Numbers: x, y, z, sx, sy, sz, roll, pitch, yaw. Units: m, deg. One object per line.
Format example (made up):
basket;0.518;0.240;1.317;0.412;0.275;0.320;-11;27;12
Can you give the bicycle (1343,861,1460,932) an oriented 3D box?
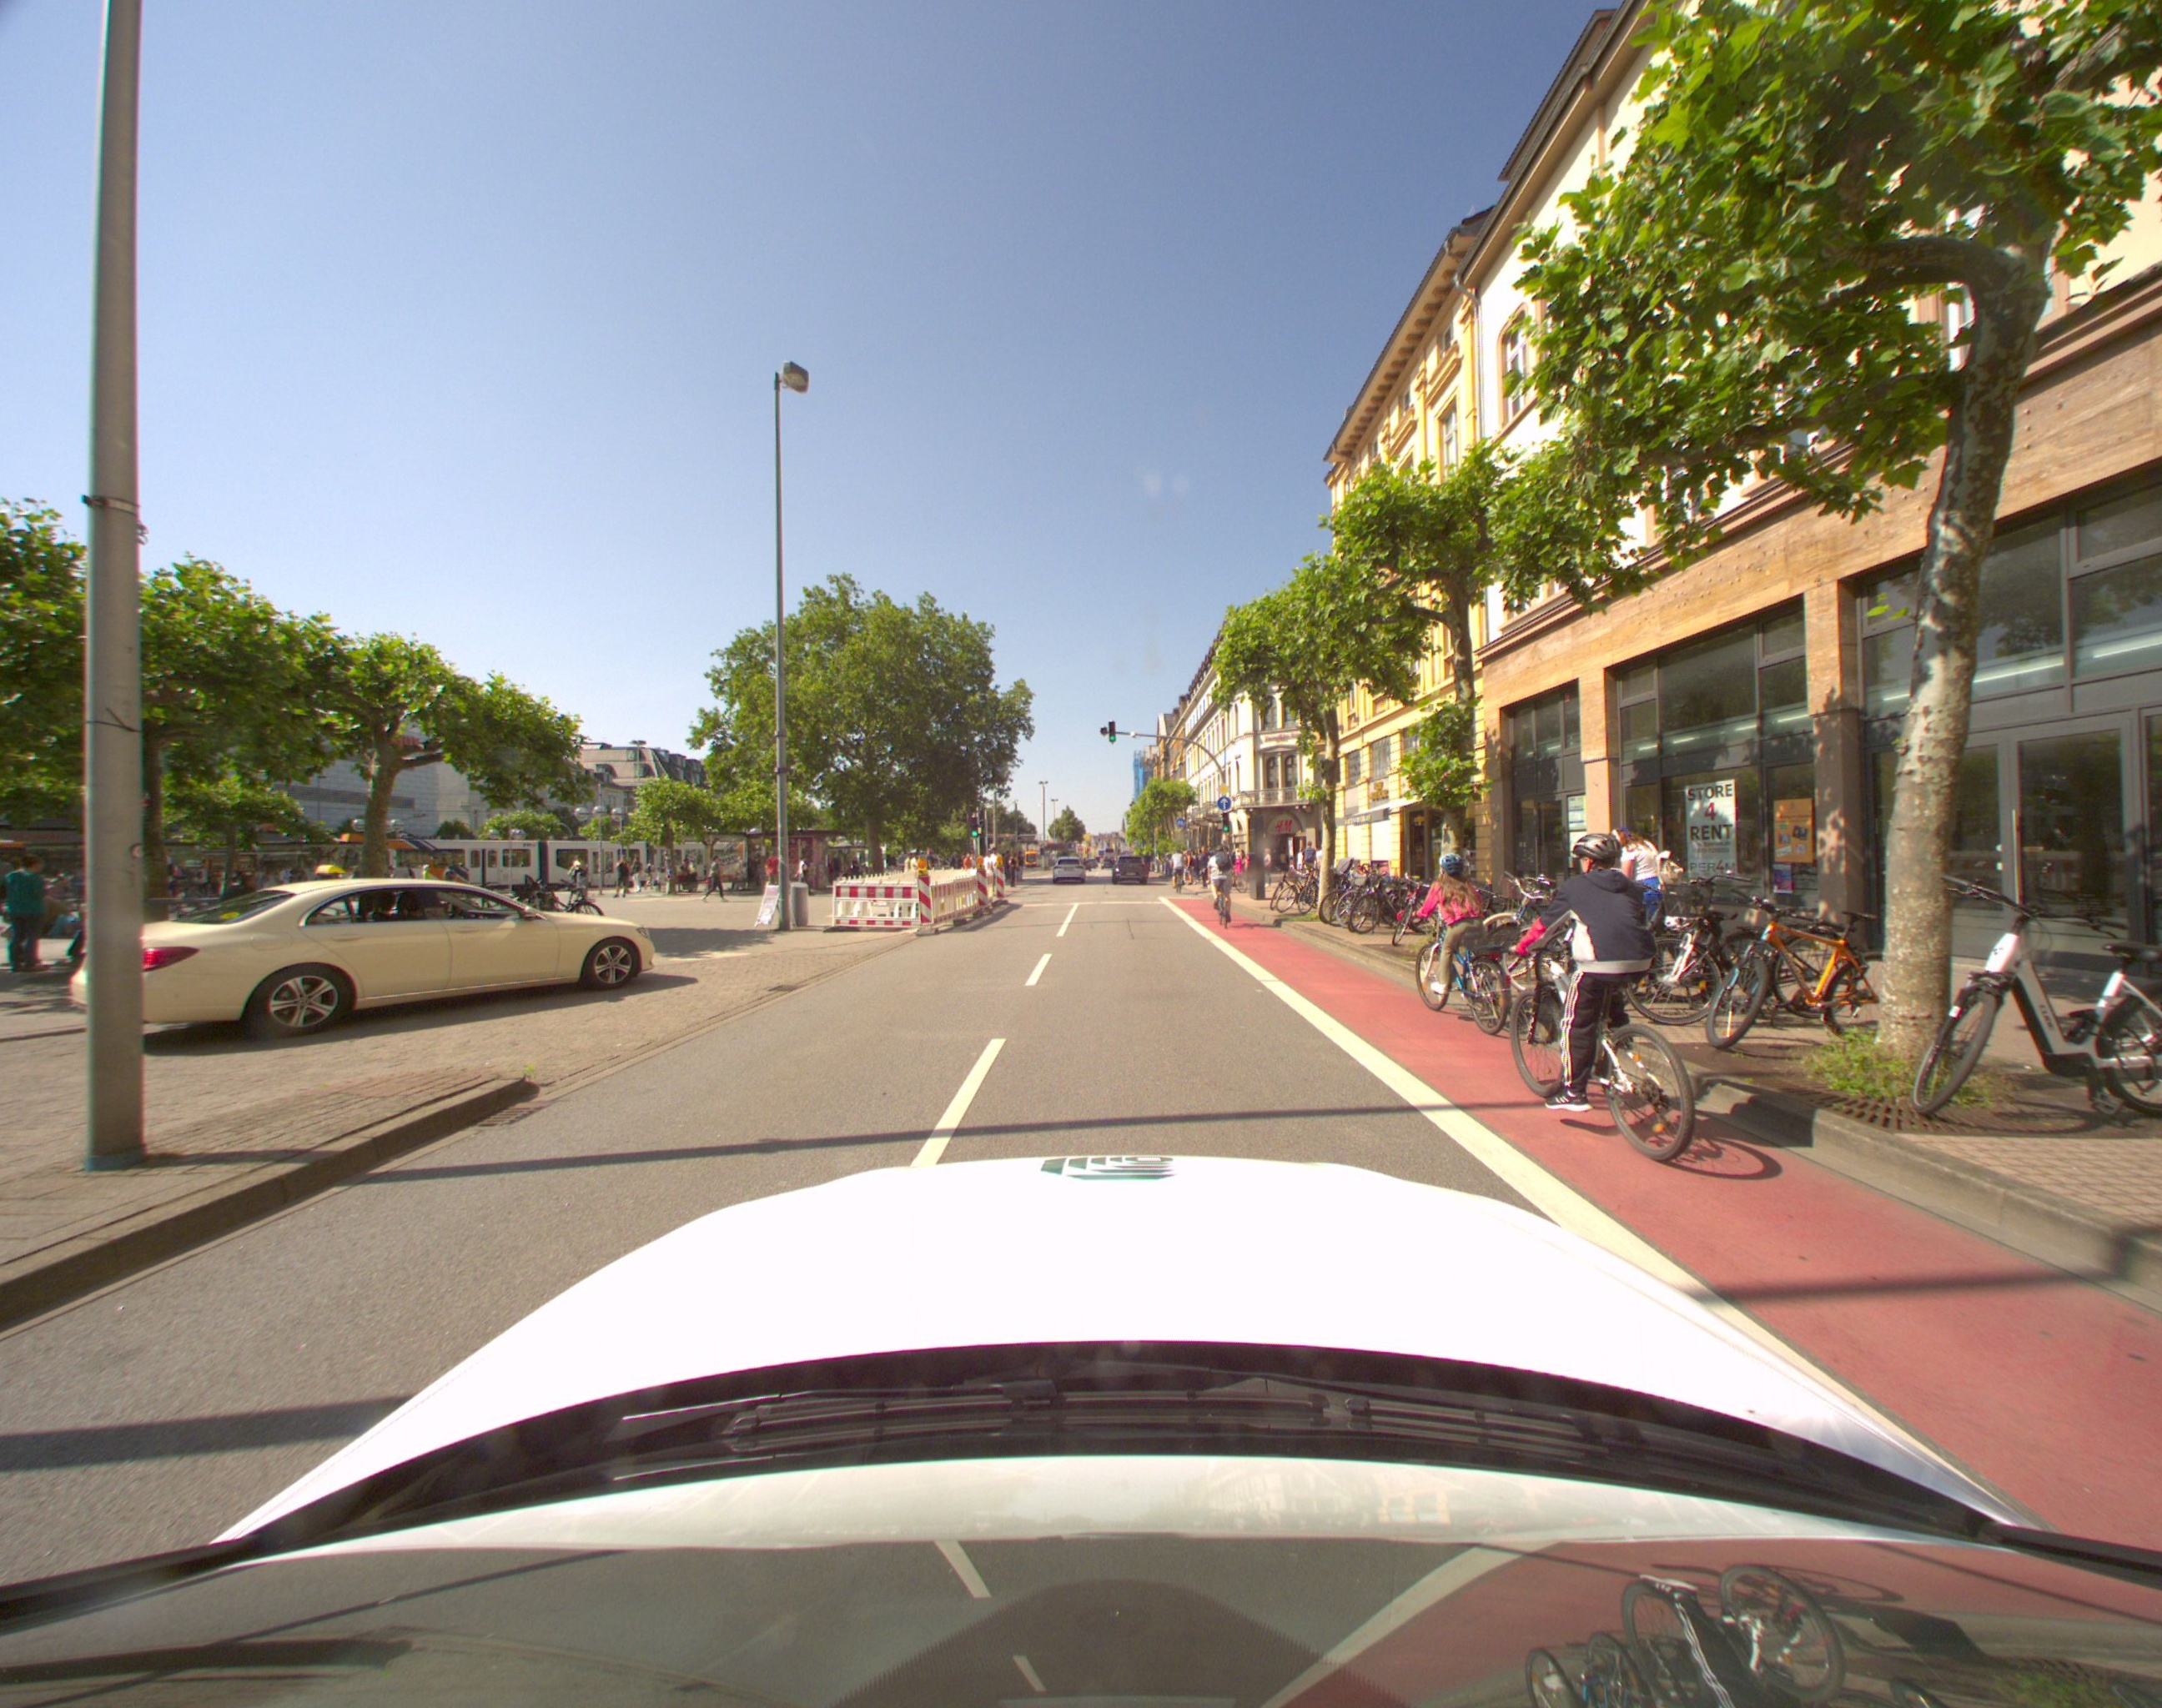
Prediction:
bicycle;5.592;0.731;14.251;1.836;1.201;0.475;-1;0;3

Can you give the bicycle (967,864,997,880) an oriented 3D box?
bicycle;-7.149;1.290;58.914;2.082;1.089;0.682;-2;-1;-10

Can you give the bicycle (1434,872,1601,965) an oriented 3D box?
bicycle;5.376;0.788;10.105;1.721;1.095;0.607;-1;0;3

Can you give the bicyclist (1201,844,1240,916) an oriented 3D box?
bicyclist;2.983;0.530;17.456;0.628;1.481;1.198;-1;0;1

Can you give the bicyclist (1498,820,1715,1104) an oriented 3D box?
bicyclist;2.876;0.549;4.533;0.696;1.440;0.790;0;0;-2

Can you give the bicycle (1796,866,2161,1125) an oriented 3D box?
bicycle;5.149;0.703;4.366;1.923;1.248;0.737;-1;0;3

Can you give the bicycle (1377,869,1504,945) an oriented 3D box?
bicycle;5.411;0.784;12.317;1.642;1.095;0.607;-1;0;3

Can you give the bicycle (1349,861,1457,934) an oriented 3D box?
bicycle;5.452;0.730;13.840;1.642;1.201;0.475;-1;0;3

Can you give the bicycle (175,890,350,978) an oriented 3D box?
bicycle;-11.168;1.077;11.150;1.777;1.132;0.562;-1;0;-2

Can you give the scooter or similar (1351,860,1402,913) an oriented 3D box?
scooter or similar;6.789;0.731;18.737;0.422;1.178;1.224;-1;0;-19

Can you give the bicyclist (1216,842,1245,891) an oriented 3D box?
bicyclist;5.657;0.485;30.820;0.577;1.797;0.848;-3;0;-33

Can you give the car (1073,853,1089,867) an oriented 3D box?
car;0.038;0.694;95.226;1.839;1.560;4.001;-1;0;1

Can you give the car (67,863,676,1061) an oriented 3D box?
car;-7.479;0.919;9.305;1.873;1.542;4.892;0;0;29

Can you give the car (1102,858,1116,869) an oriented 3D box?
car;3.770;1.325;111.845;1.839;1.413;4.001;-1;0;1

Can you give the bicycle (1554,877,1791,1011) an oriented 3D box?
bicycle;5.127;0.772;7.115;1.721;1.109;0.403;-1;0;3

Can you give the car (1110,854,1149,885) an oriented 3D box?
car;2.557;0.776;43.723;1.840;1.559;3.998;0;0;-1

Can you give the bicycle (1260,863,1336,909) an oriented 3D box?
bicycle;5.548;0.812;20.861;1.777;1.122;0.562;-2;0;-2

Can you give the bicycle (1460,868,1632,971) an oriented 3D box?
bicycle;5.443;0.756;9.593;1.721;1.162;0.478;-1;0;3

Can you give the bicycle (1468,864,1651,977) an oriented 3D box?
bicycle;5.318;0.728;9.109;1.721;1.217;0.478;-1;0;3

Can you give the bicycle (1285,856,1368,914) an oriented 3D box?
bicycle;5.831;0.707;19.377;1.826;1.309;0.684;-1;0;-19

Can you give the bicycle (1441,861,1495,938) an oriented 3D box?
bicycle;6.445;0.723;13.625;0.469;1.188;1.660;-1;0;13

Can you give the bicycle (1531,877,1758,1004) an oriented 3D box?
bicycle;5.176;0.788;7.534;1.721;1.109;0.478;-1;0;3

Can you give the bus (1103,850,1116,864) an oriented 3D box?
bus;7.248;0.858;208.807;2.984;3.594;11.746;-1;-1;1

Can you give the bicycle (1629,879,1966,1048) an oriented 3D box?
bicycle;5.061;0.752;5.850;1.721;1.109;0.737;-1;0;3

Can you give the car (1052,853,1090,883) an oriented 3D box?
car;-0.506;0.736;45.148;1.838;1.560;4.002;-2;0;2

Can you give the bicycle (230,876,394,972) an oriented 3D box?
bicycle;-11.039;0.985;11.719;1.777;1.309;0.562;-1;0;-2

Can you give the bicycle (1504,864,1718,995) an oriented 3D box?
bicycle;5.102;0.715;7.897;1.721;1.217;0.478;-1;0;3

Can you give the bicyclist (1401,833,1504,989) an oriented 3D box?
bicyclist;3.403;0.500;7.501;0.598;1.357;0.720;-1;0;-1

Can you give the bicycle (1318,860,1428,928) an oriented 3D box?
bicycle;5.381;0.733;15.061;1.836;1.201;0.545;-1;0;3

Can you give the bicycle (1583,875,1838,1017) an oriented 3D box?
bicycle;5.139;0.743;6.701;1.721;1.109;0.403;-1;0;3

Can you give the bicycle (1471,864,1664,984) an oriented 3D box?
bicycle;5.117;0.726;8.622;1.721;1.217;0.478;-1;0;3

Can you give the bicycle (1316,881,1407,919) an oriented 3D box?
bicycle;6.024;0.977;17.468;1.850;0.716;0.655;-1;0;-20

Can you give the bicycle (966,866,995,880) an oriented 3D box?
bicycle;-7.419;1.388;59.922;2.082;0.980;0.682;-2;-1;-10

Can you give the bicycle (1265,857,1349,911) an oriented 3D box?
bicycle;5.543;0.719;19.980;1.938;1.257;0.701;-1;0;-18

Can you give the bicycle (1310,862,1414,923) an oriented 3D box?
bicycle;5.571;0.762;16.195;1.836;1.164;0.660;-1;0;3

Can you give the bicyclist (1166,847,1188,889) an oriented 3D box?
bicyclist;3.855;0.556;32.789;0.771;1.635;0.851;-1;0;2

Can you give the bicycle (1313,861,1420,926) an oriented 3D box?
bicycle;5.433;0.739;15.567;1.836;1.201;0.609;-1;0;3

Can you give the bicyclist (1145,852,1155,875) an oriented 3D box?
bicyclist;4.670;0.626;55.267;0.645;1.551;0.818;-1;0;1

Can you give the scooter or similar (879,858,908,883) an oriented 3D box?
scooter or similar;-10.882;0.974;47.240;1.264;1.421;1.045;-1;-1;32

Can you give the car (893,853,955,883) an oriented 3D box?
car;-10.734;0.912;55.986;1.843;1.955;4.786;-1;-1;23

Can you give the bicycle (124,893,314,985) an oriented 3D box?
bicycle;-11.036;1.074;10.458;1.777;1.105;0.562;-1;0;-2
